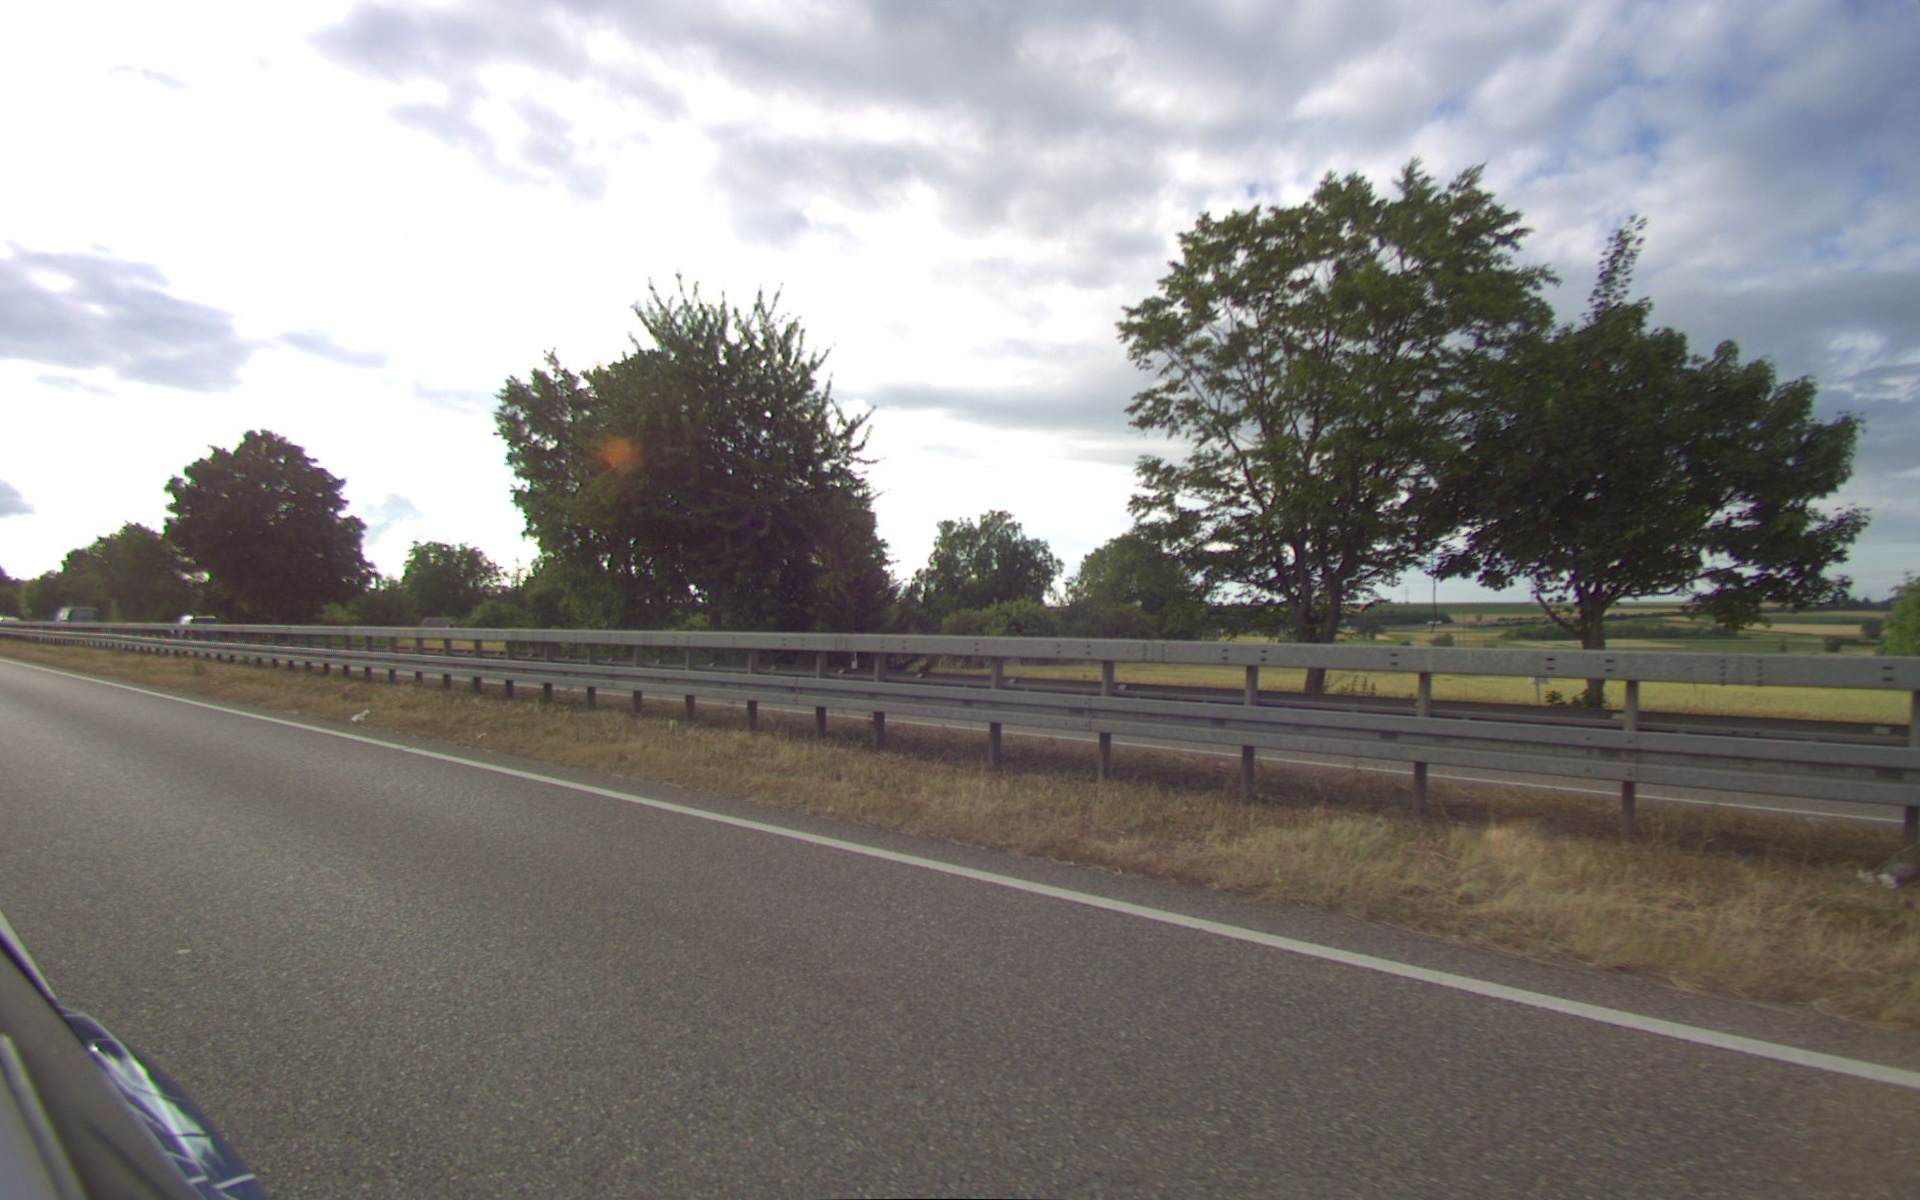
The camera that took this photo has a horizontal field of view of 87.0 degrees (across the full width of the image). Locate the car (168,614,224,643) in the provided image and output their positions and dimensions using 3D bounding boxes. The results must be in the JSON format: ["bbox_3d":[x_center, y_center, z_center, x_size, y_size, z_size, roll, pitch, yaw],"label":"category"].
[{"bbox_3d":[-44.605,1.653,59.047,4.483,1.638,1.778,-1,-3,43],"label":"car"}]

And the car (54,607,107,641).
[{"bbox_3d":[-57.969,1.608,66.674,5.318,2.157,1.972,-1,-3,43],"label":"car"}]
